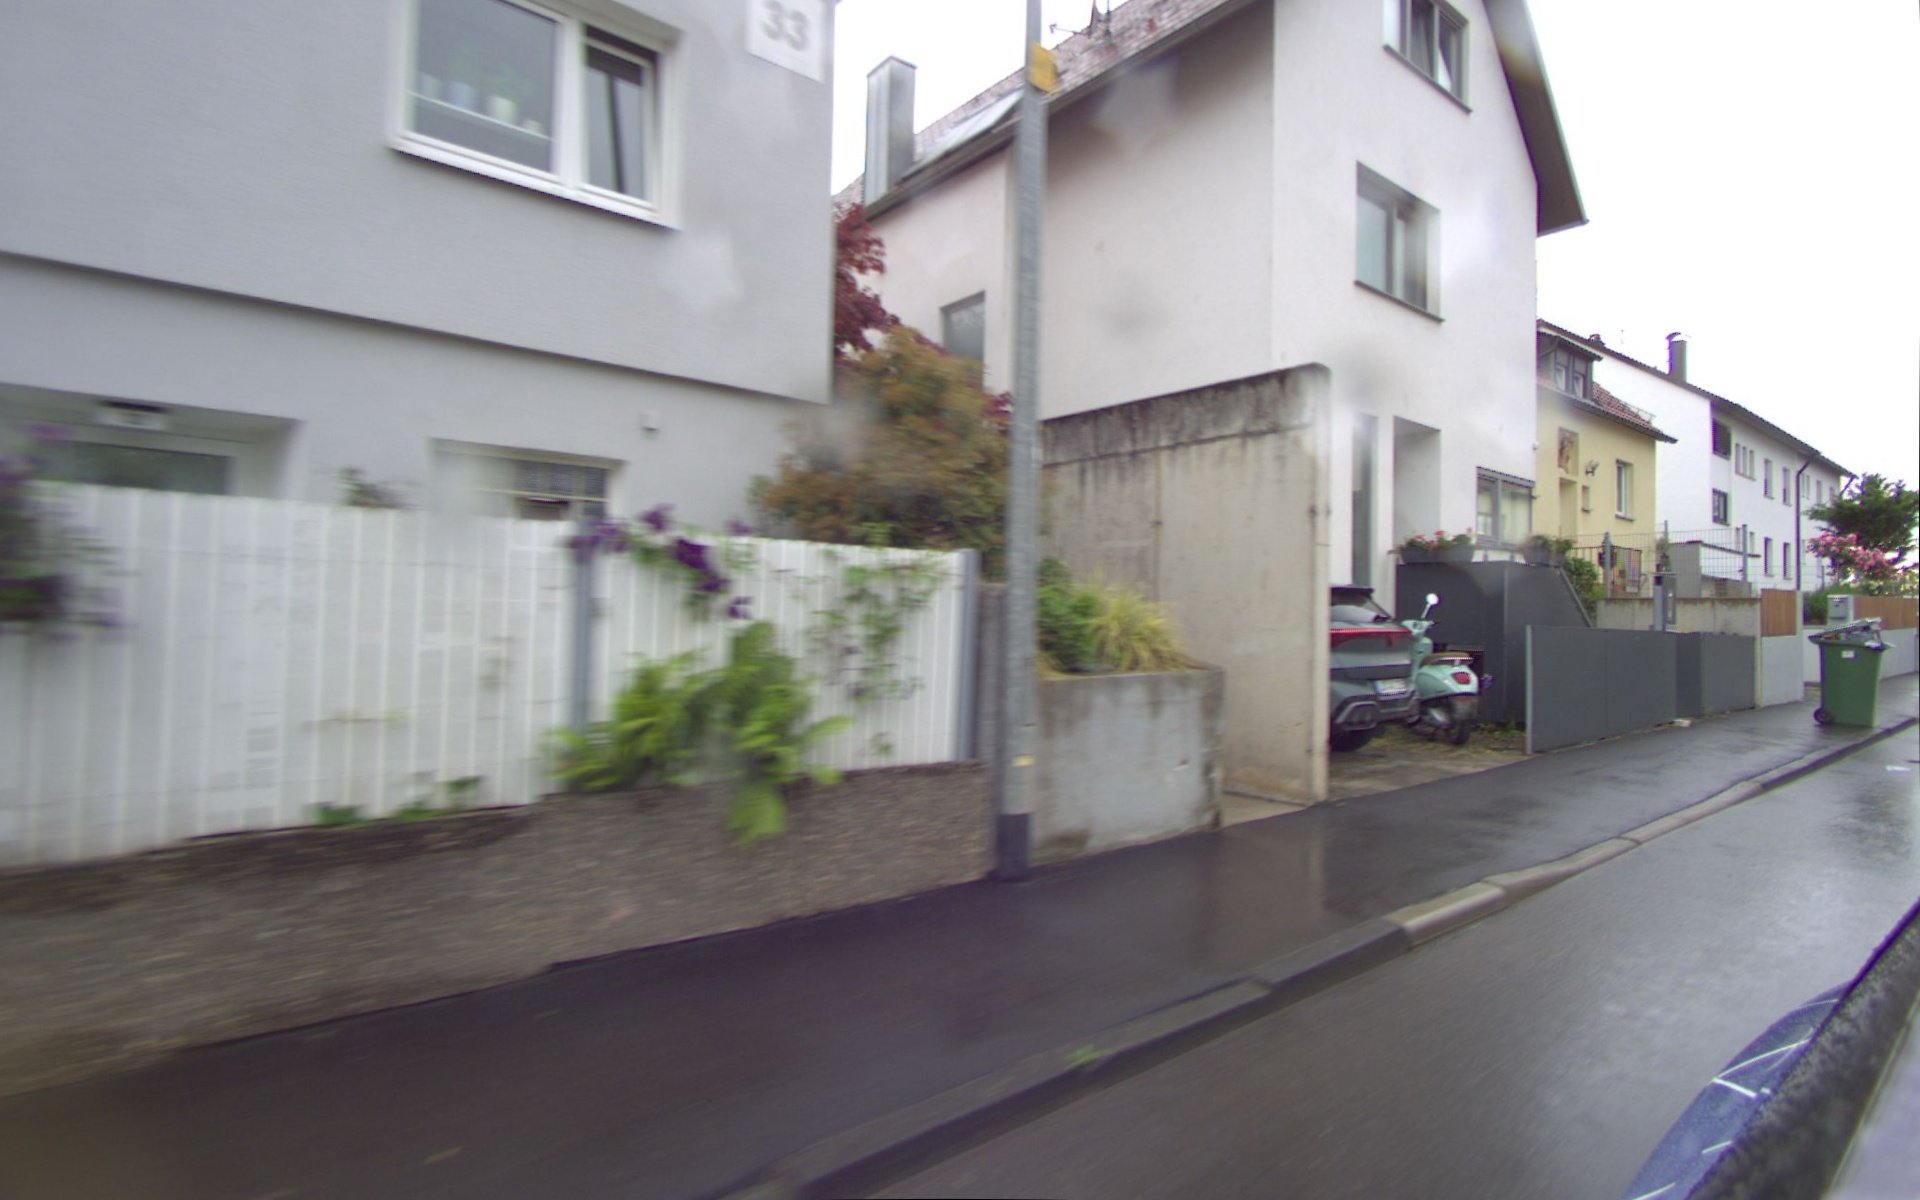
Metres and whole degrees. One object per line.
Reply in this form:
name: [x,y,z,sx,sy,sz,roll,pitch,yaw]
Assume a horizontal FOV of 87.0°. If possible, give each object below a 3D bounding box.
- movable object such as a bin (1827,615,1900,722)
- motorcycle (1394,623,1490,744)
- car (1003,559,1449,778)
movable object such as a bin: [10.578,0.780,11.854,0.528,1.201,0.568,1,0,-41]
motorcycle: [4.605,0.762,9.723,0.547,1.025,1.147,1,1,12]
car: [2.287,0.442,9.331,1.788,1.602,3.593,0,2,-41]
